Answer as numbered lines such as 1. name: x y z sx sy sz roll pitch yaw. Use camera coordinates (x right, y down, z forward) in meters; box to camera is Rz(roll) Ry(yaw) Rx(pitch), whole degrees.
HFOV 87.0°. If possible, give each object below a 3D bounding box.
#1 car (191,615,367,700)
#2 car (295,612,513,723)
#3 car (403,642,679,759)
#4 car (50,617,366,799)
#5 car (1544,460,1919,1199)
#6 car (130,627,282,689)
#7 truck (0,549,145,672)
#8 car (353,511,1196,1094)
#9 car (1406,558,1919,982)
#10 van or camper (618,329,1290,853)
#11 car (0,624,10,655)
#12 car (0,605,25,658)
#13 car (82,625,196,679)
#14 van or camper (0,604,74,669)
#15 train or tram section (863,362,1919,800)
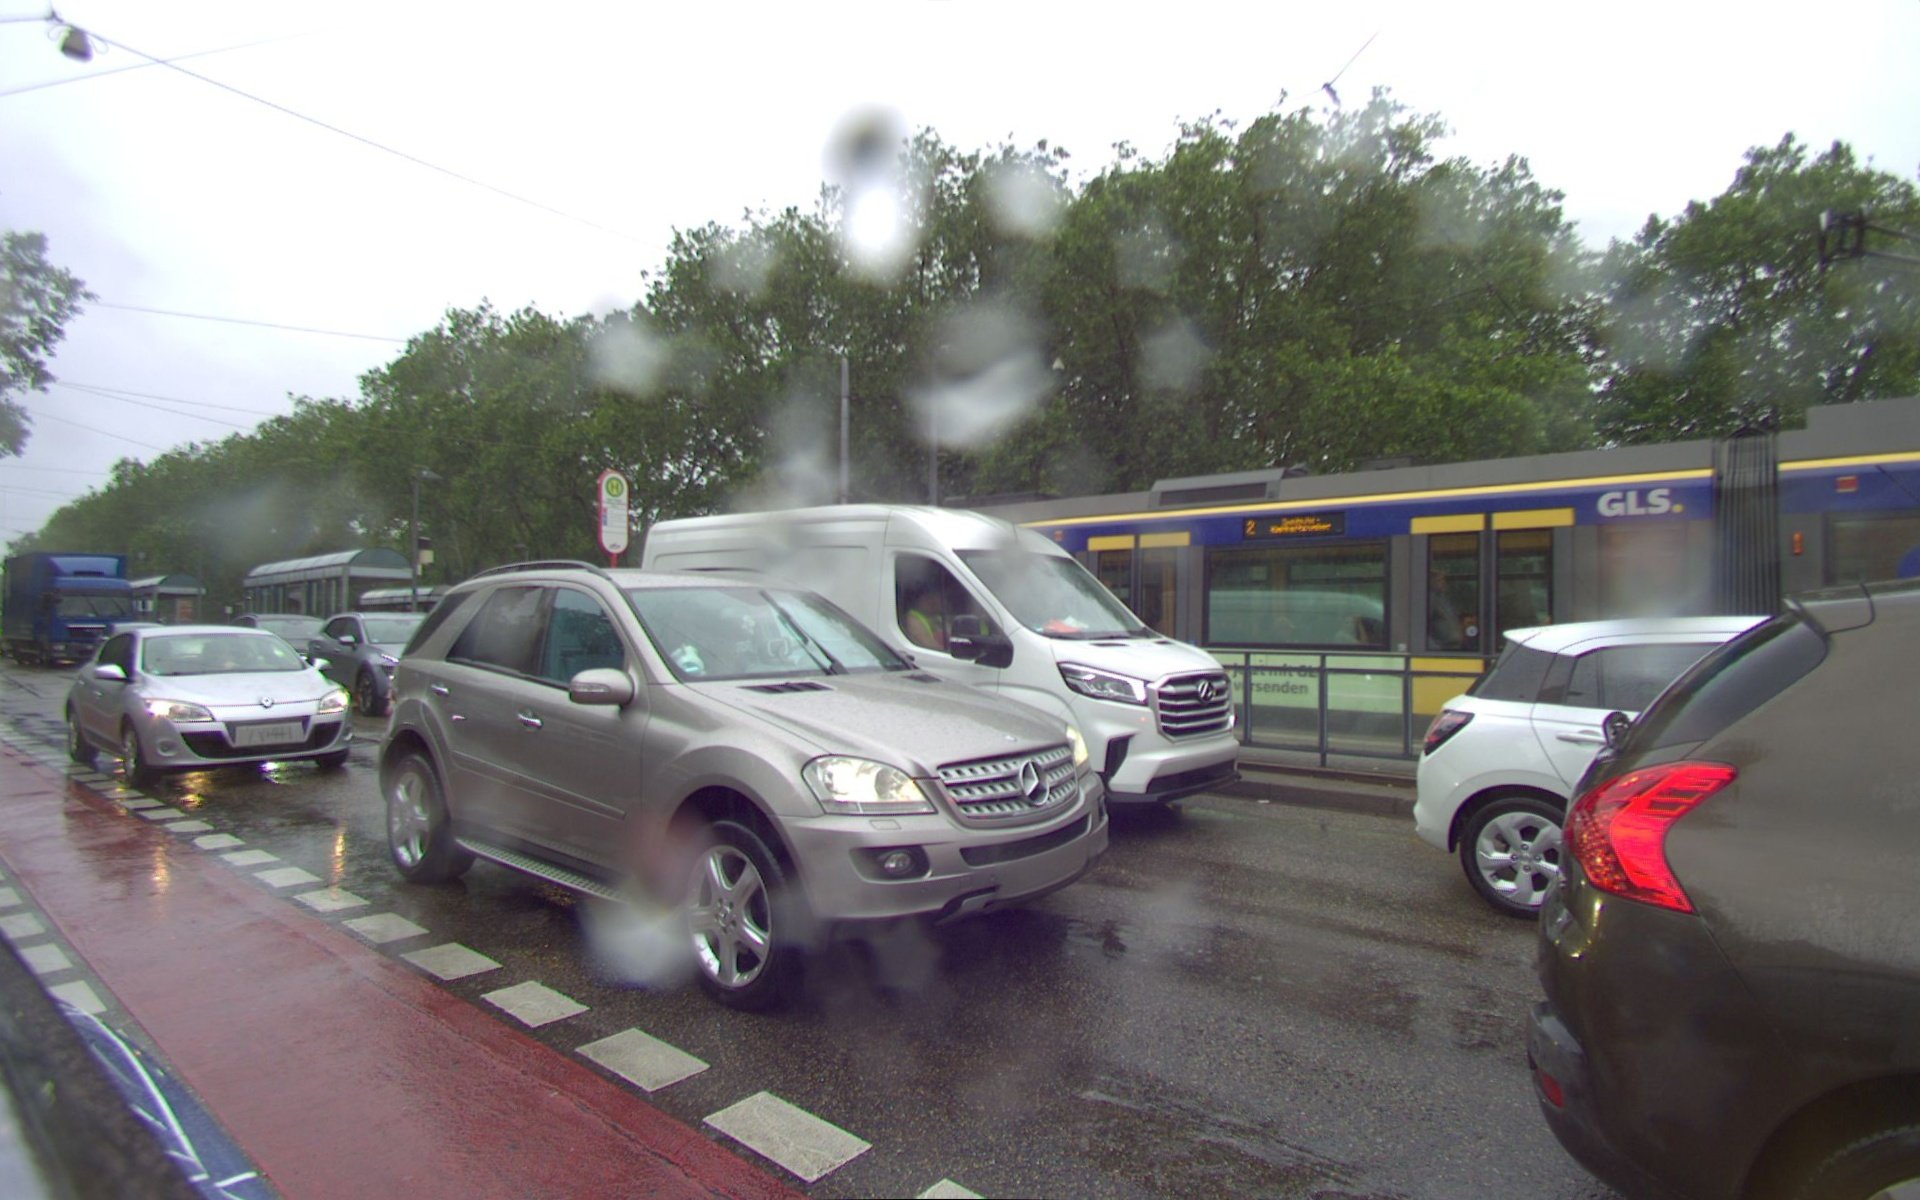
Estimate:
1. car: -14.651 1.170 21.684 4.316 1.633 1.974 -1 -2 40
2. car: -9.479 1.053 17.099 4.454 1.636 1.894 -1 -2 43
3. car: -5.267 1.132 12.464 4.084 1.126 1.448 -1 -1 40
4. car: -7.803 0.938 10.374 3.998 1.489 1.750 -1 -1 40
5. car: 3.282 0.597 1.241 4.170 1.681 1.815 -1 -1 41
6. car: -18.833 1.388 25.209 4.602 1.405 1.973 -1 -3 40
7. truck: -32.149 0.454 36.277 9.803 3.919 2.513 -1 -3 40
8. car: -1.259 0.654 5.326 4.459 1.783 2.004 -1 -1 40
9. car: 4.260 0.672 4.533 3.834 1.641 1.628 -1 -2 41
10. van or camper: -0.392 0.006 8.813 5.846 3.166 2.136 -1 -2 40
11. car: -52.355 2.100 54.074 3.998 1.589 1.973 -1 -1 41
12. car: -46.816 1.514 48.887 5.727 2.445 1.972 -1 0 43
13. car: -24.440 1.499 30.093 4.074 1.498 1.871 -1 -2 40
14. van or camper: -40.045 1.524 43.554 6.427 2.590 1.973 -1 0 41
15. train or tram section: 4.722 -0.087 13.168 13.652 3.539 3.476 -1 0 41
